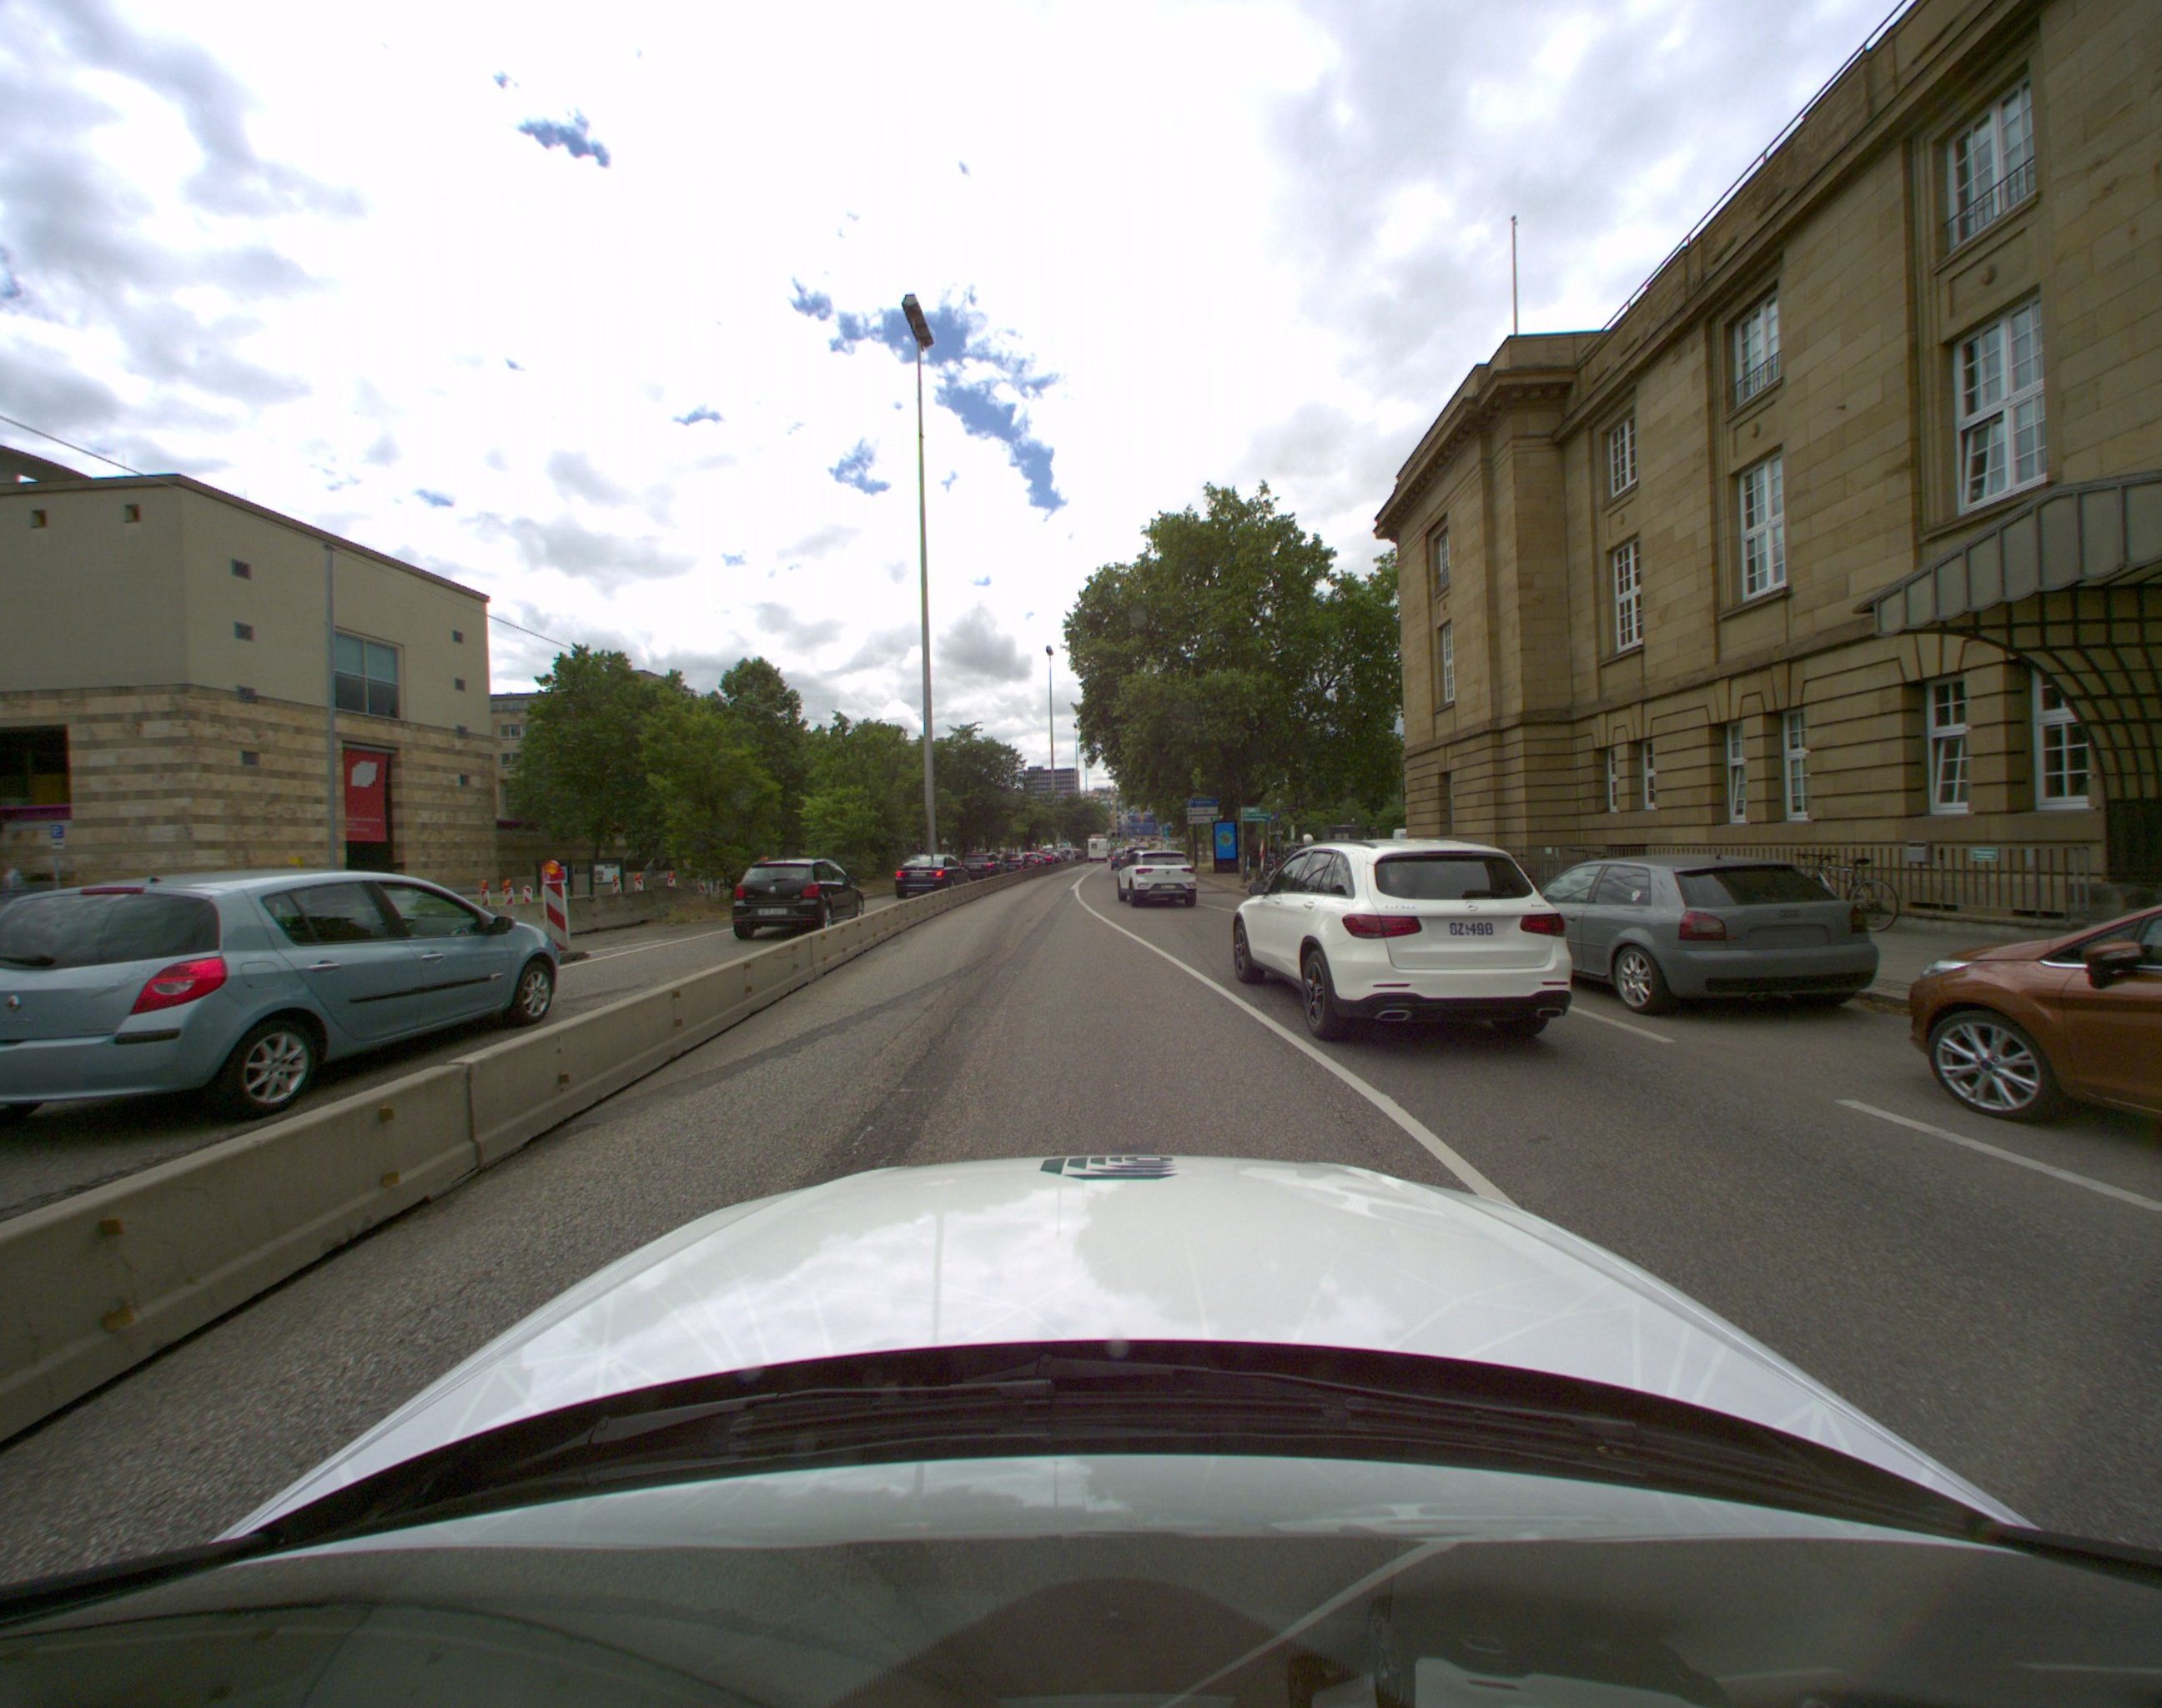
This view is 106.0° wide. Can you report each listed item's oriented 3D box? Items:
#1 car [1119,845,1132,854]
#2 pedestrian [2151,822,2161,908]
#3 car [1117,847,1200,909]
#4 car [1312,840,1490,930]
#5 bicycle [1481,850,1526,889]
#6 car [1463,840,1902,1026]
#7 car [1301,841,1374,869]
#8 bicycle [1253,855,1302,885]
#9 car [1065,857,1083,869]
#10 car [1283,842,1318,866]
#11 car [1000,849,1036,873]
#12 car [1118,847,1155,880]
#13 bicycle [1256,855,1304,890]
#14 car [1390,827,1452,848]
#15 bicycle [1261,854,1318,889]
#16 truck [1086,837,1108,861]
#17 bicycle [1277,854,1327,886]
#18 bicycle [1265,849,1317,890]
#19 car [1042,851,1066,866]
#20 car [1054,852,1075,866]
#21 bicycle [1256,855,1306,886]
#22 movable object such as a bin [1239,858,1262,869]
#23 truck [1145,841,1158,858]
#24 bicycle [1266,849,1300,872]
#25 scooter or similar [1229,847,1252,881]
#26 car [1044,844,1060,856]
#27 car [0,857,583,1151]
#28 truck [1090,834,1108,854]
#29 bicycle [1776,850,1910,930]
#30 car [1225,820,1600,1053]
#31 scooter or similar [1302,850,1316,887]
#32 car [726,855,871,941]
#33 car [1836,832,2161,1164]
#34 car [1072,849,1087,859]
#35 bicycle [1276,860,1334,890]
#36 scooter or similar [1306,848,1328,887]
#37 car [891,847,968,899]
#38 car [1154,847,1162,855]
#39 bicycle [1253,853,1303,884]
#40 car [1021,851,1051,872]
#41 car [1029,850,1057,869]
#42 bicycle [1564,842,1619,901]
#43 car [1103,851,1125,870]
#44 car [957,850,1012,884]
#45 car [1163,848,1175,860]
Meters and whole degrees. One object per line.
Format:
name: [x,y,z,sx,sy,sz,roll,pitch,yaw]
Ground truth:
car: [7.094,-0.680,128.423,1.938,1.319,4.021,-1,0,4]
pedestrian: [11.102,0.111,8.097,0.427,0.873,0.373,0,-1,4]
car: [2.131,0.642,23.336,1.792,1.608,3.749,-1,0,-4]
car: [5.946,0.520,15.734,1.782,1.486,4.326,-1,0,0]
bicycle: [11.211,0.398,21.649,0.239,0.997,1.964,-2,0,3]
car: [5.777,0.640,8.560,1.702,1.426,3.998,-3,0,2]
car: [15.275,0.046,48.575,3.820,1.568,1.681,-1,0,3]
bicycle: [7.225,0.597,29.978,1.715,1.091,0.427,0,0,15]
car: [-0.779,0.974,92.462,1.651,1.319,3.552,-1,0,4]
car: [16.388,-0.008,60.997,1.752,1.551,4.032,-2,2,4]
car: [-3.957,0.417,51.820,1.671,1.367,4.547,-2,0,3]
car: [2.828,0.476,42.079,1.653,1.639,3.548,-1,0,1]
bicycle: [6.705,0.610,27.383,1.616,1.130,0.466,0,0,-24]
car: [38.508,-1.853,92.388,6.078,2.260,2.405,-1,0,5]
bicycle: [6.560,0.559,25.598,1.648,1.074,0.588,-1,0,22]
truck: [2.069,-0.606,102.307,2.610,2.861,7.083,0,0,3]
bicycle: [7.179,0.504,26.513,1.552,1.028,0.437,0,0,14]
bicycle: [6.690,0.488,25.957,1.529,1.257,0.546,0,0,21]
car: [-2.456,0.414,73.697,1.650,1.319,3.554,-1,0,6]
car: [-1.616,0.458,80.750,1.650,1.319,3.554,-1,0,6]
bicycle: [7.100,0.584,28.930,1.717,1.091,0.576,0,0,11]
movable object such as a bin: [10.064,0.557,48.330,1.290,0.652,0.731,0,-1,11]
truck: [17.582,-1.057,203.433,2.865,4.103,6.643,0,0,3]
bicycle: [11.283,0.343,45.474,1.776,1.221,0.493,-1,0,5]
scooter or similar: [6.405,0.411,32.750,0.723,1.331,1.414,0,0,2]
car: [-5.009,-0.749,142.014,2.106,1.969,5.583,-2,0,3]
car: [-5.695,0.789,6.146,1.669,1.507,3.849,-1,0,-4]
truck: [2.845,-1.589,129.817,2.681,2.992,5.641,0,0,2]
bicycle: [10.662,0.460,11.481,0.221,1.029,1.860,0,0,3]
car: [2.767,0.586,8.033,1.783,1.625,4.434,-1,0,-2]
scooter or similar: [7.676,0.470,27.449,0.422,1.224,1.317,0,-1,13]
car: [-5.448,0.766,16.253,1.656,1.454,4.192,-1,0,-4]
car: [5.653,0.636,3.323,1.609,1.455,3.860,-3,0,2]
car: [-0.186,0.003,109.710,1.651,1.319,3.552,-1,0,4]
bicycle: [7.229,0.688,26.248,1.713,0.917,0.617,-2,0,21]
scooter or similar: [7.892,0.443,27.250,0.559,1.278,1.151,0,0,9]
car: [-5.206,0.626,28.578,1.918,1.636,4.932,-1,0,-2]
car: [16.796,-0.661,177.971,1.751,1.669,4.172,-1,0,4]
bicycle: [7.098,0.512,29.327,1.715,1.091,0.382,0,0,15]
car: [-3.200,0.524,58.396,1.654,1.436,3.963,-1,0,3]
car: [-3.011,0.411,65.791,1.768,1.420,4.004,-2,0,3]
bicycle: [10.899,0.363,17.434,0.274,1.183,1.540,-3,-1,5]
car: [2.654,0.494,64.712,1.652,1.413,3.550,-1,0,3]
car: [-4.600,0.595,39.588,1.809,1.499,4.773,-2,0,3]
car: [15.234,-0.052,141.651,1.984,2.013,4.005,-1,0,4]
